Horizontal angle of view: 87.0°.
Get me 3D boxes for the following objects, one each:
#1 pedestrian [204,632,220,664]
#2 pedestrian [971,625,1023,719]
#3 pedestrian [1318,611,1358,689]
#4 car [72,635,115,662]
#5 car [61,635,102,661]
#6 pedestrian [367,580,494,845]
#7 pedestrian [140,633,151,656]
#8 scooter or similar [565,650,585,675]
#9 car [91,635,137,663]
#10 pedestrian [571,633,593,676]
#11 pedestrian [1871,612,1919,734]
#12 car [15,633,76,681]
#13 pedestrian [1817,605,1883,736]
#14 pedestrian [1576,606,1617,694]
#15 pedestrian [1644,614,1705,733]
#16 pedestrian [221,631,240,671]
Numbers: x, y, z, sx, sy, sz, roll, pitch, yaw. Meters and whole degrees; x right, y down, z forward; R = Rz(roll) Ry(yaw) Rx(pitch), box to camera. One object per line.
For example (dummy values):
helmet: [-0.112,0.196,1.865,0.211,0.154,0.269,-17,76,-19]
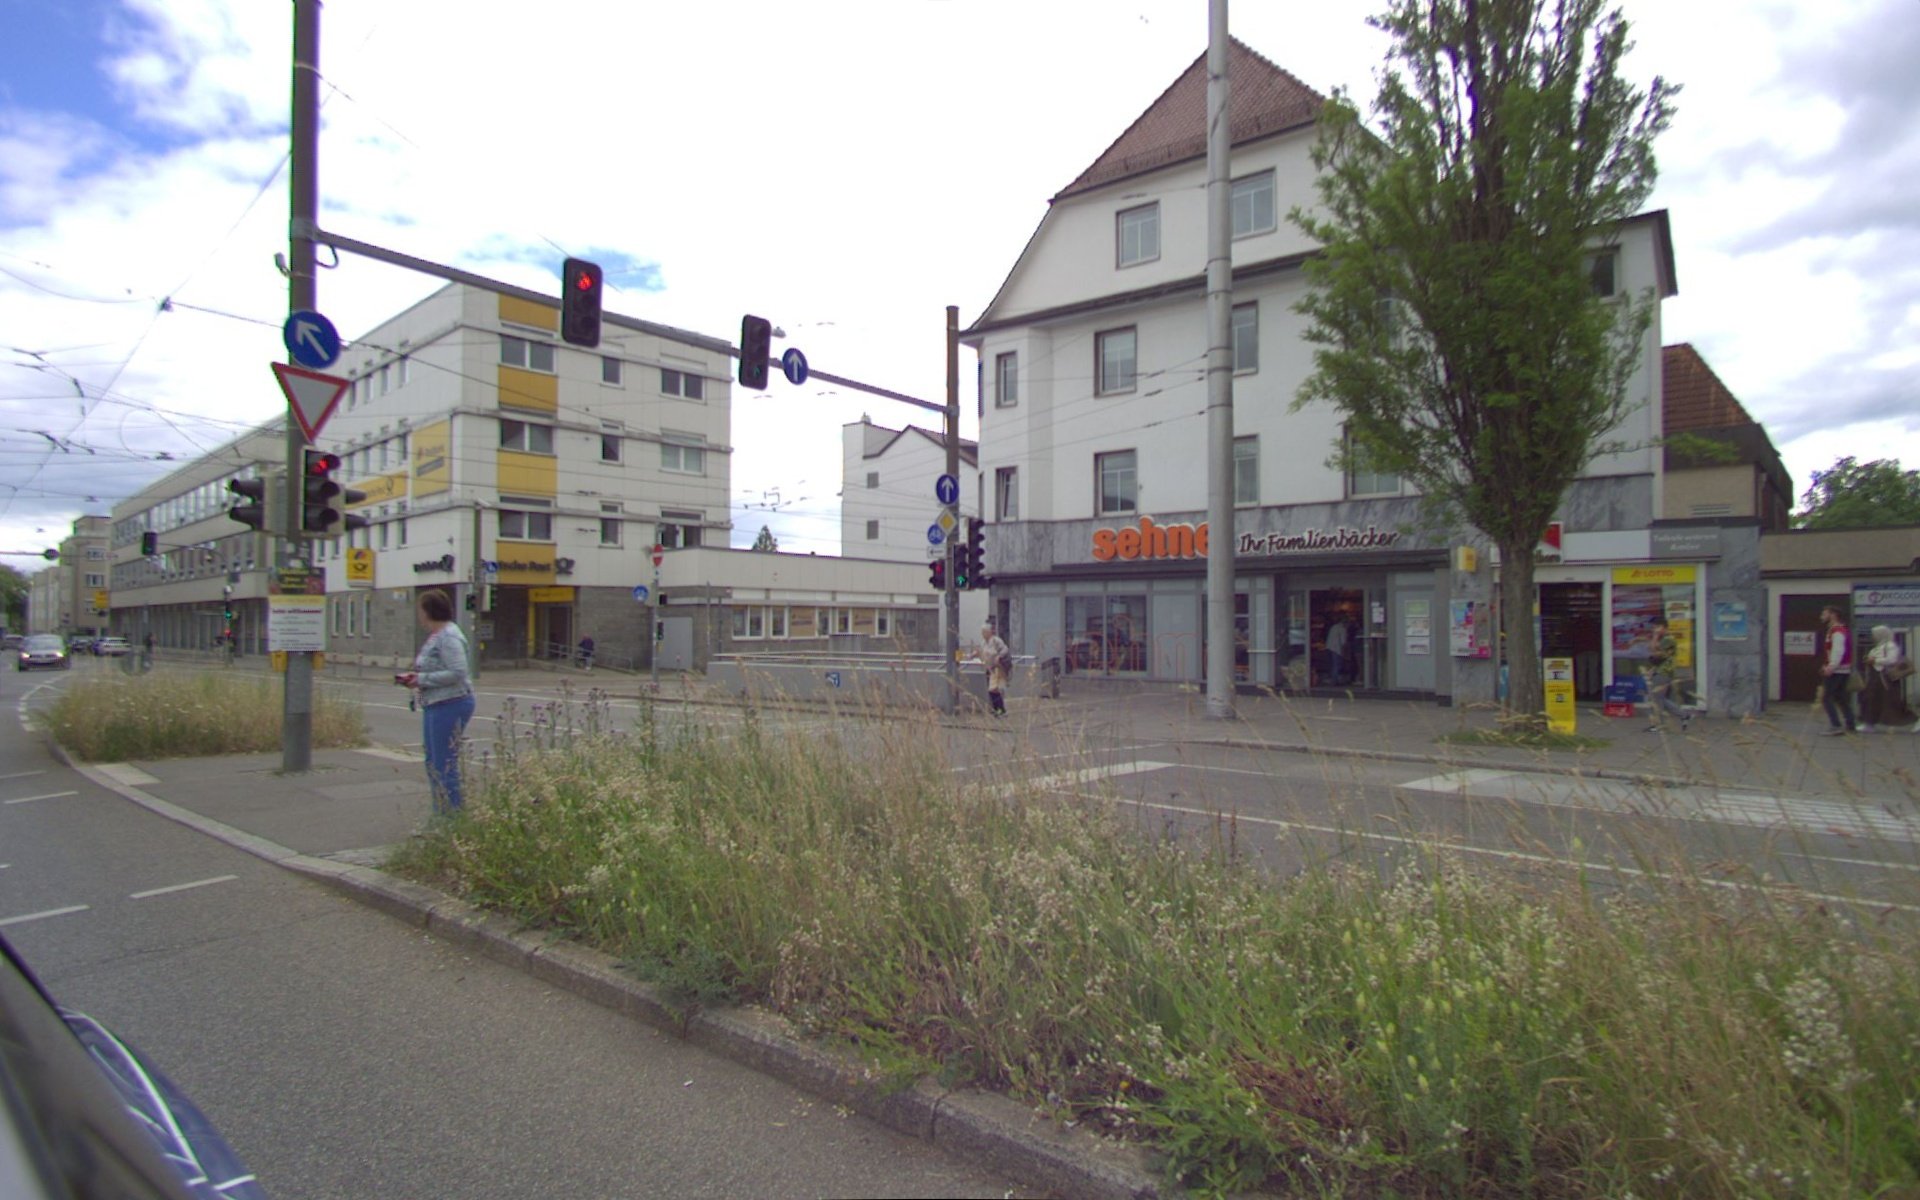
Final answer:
pedestrian: [-43.537,2.779,58.898,0.526,1.816,0.580,-3,0,43]
pedestrian: [0.677,1.299,18.549,0.613,1.647,0.694,-3,0,32]
pedestrian: [8.228,1.076,22.020,0.587,1.647,0.607,-3,0,41]
car: [-68.916,3.840,80.453,4.484,2.029,1.973,-2,-2,41]
car: [-73.239,4.002,84.378,4.484,2.029,1.973,-2,-2,41]
pedestrian: [-3.507,0.714,6.706,0.662,1.647,0.498,-2,-3,37]
pedestrian: [-65.512,3.569,81.420,0.526,1.816,0.580,-3,0,43]
scooter or similar: [-15.306,2.487,40.244,0.617,0.984,0.501,-2,-2,40]
car: [-64.052,3.675,76.606,4.484,2.029,1.973,-2,-2,41]
pedestrian: [-14.884,2.147,39.858,0.615,1.647,0.579,-2,-3,43]
pedestrian: [13.215,1.009,14.164,0.614,1.647,0.580,-3,0,41]
car: [-41.509,2.541,45.942,1.970,2.029,4.491,0,-2,-43]
pedestrian: [12.205,0.949,13.889,0.614,1.725,0.580,-3,0,41]
pedestrian: [12.272,0.959,19.527,0.585,1.647,0.609,-3,0,30]
pedestrian: [10.301,1.044,14.589,0.614,1.647,0.580,-3,0,41]
pedestrian: [-34.714,2.424,48.171,0.526,1.816,0.580,-3,0,43]
